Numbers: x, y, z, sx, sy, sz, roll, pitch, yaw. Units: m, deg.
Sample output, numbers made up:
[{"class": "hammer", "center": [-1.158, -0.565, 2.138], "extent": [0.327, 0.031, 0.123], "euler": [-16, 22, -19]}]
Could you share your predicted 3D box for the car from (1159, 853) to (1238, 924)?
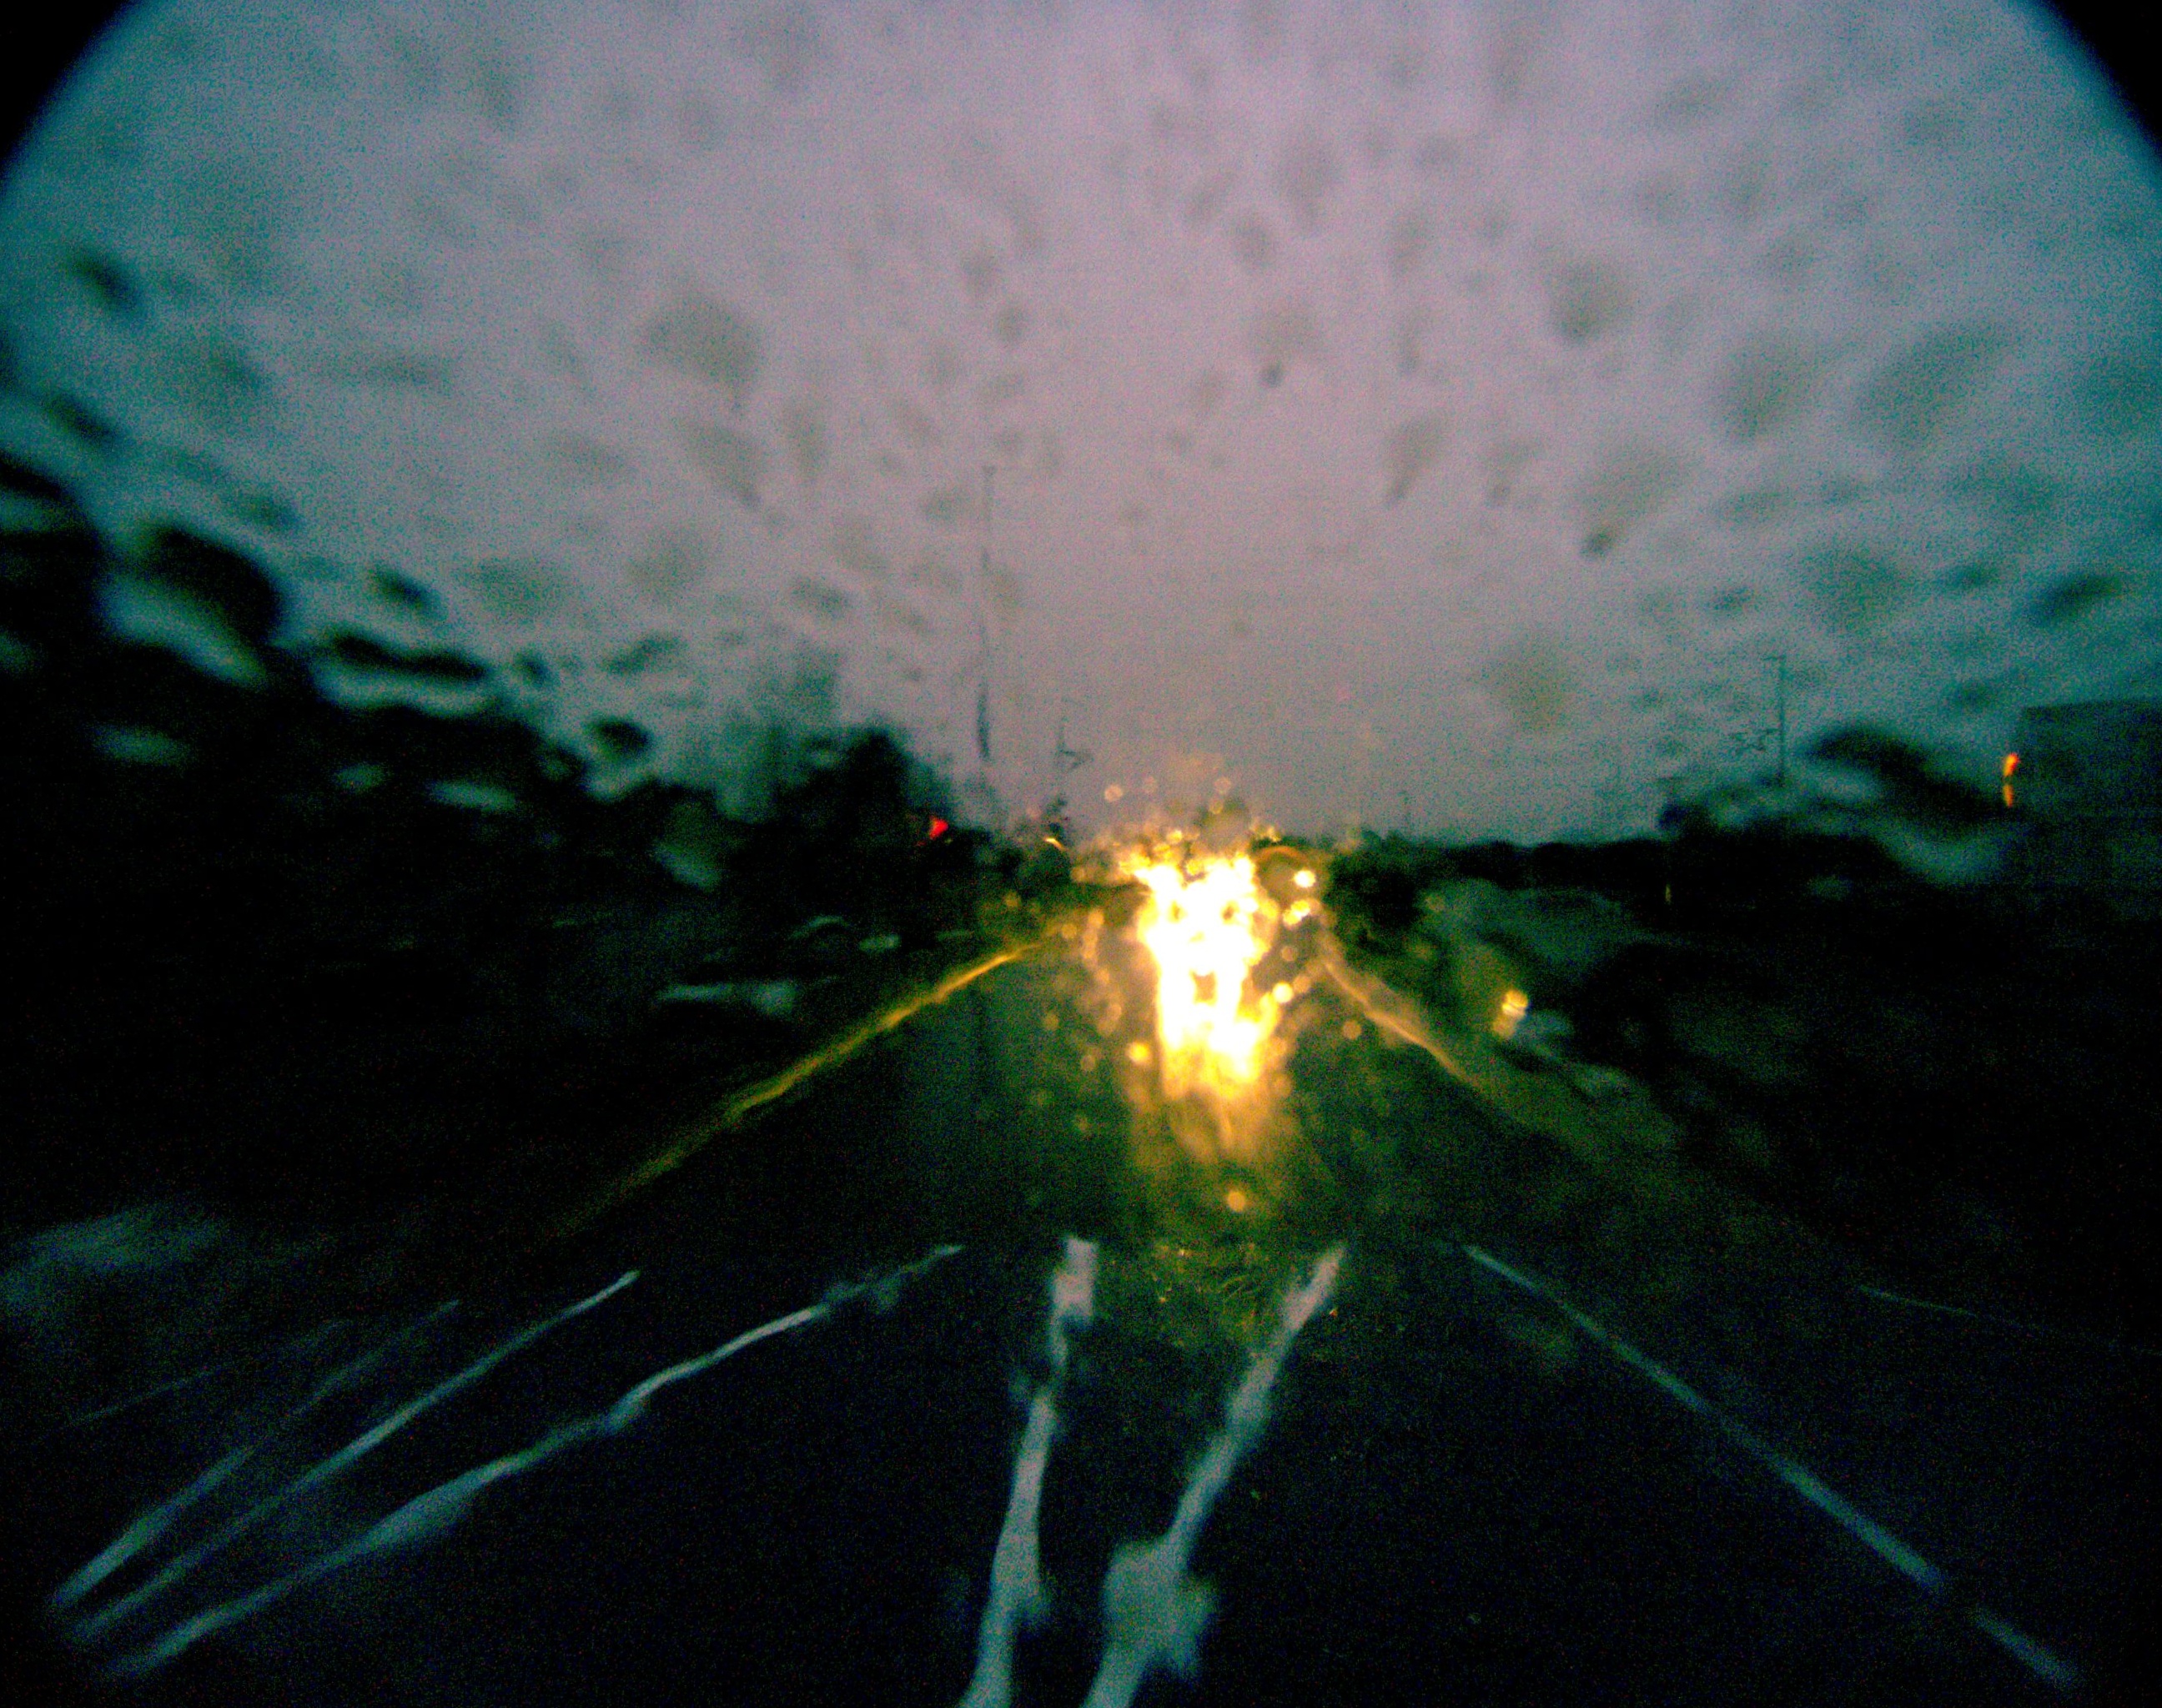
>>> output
[{"class": "car", "center": [3.187, 0.807, 19.899], "extent": [1.774, 1.632, 4.426], "euler": [1, 0, 12]}]

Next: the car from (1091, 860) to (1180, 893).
[{"class": "car", "center": [2.530, 1.006, 35.992], "extent": [2.004, 1.464, 3.989], "euler": [0, 0, -39]}]

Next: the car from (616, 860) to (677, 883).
[{"class": "car", "center": [-34.207, 1.338, 59.903], "extent": [4.006, 1.626, 1.995], "euler": [-3, 1, -30]}]

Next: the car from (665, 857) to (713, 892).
[{"class": "car", "center": [-21.315, 1.067, 41.447], "extent": [1.951, 1.795, 4.165], "euler": [0, 0, -22]}]

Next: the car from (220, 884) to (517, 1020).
[{"class": "car", "center": [-9.694, 1.201, 10.778], "extent": [1.779, 1.422, 3.790], "euler": [-1, 0, -21]}]
